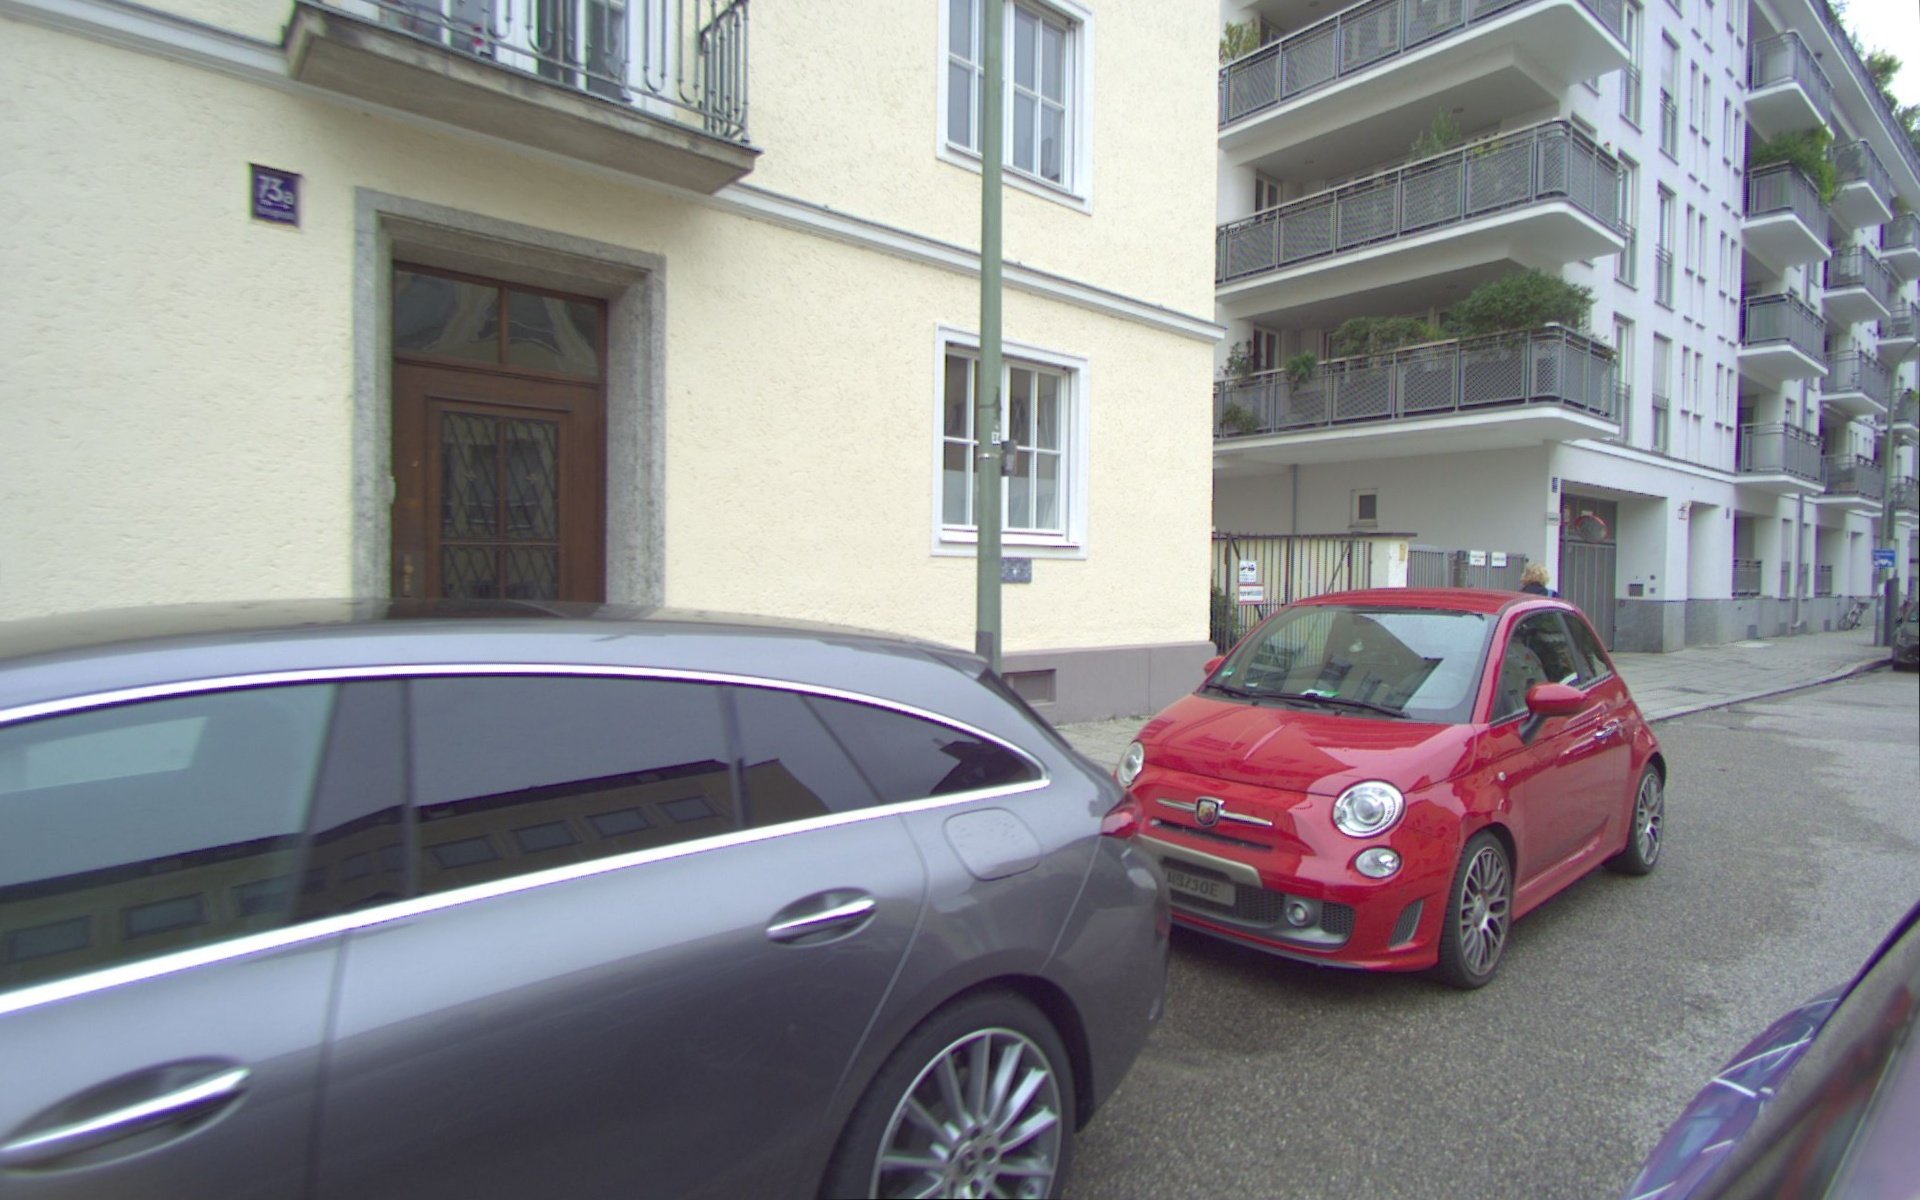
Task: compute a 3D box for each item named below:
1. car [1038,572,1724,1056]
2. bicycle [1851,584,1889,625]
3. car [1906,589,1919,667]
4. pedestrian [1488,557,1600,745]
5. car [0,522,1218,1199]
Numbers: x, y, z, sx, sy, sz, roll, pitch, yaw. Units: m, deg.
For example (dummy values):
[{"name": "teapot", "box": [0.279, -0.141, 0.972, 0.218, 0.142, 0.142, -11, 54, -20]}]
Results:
[{"name": "car", "box": [2.288, 0.641, 5.045, 3.733, 1.527, 1.599, -1, 2, -40]}, {"name": "bicycle", "box": [27.990, 0.124, 31.121, 2.091, 1.174, 0.628, -1, 3, -42]}, {"name": "car", "box": [20.066, 0.518, 19.953, 4.010, 1.425, 1.765, -2, 3, -43]}, {"name": "pedestrian", "box": [5.777, 0.468, 10.019, 0.662, 1.749, 0.794, -3, 2, -43]}, {"name": "car", "box": [-1.524, 0.638, 1.729, 4.268, 1.509, 1.695, -2, 3, -41]}]
